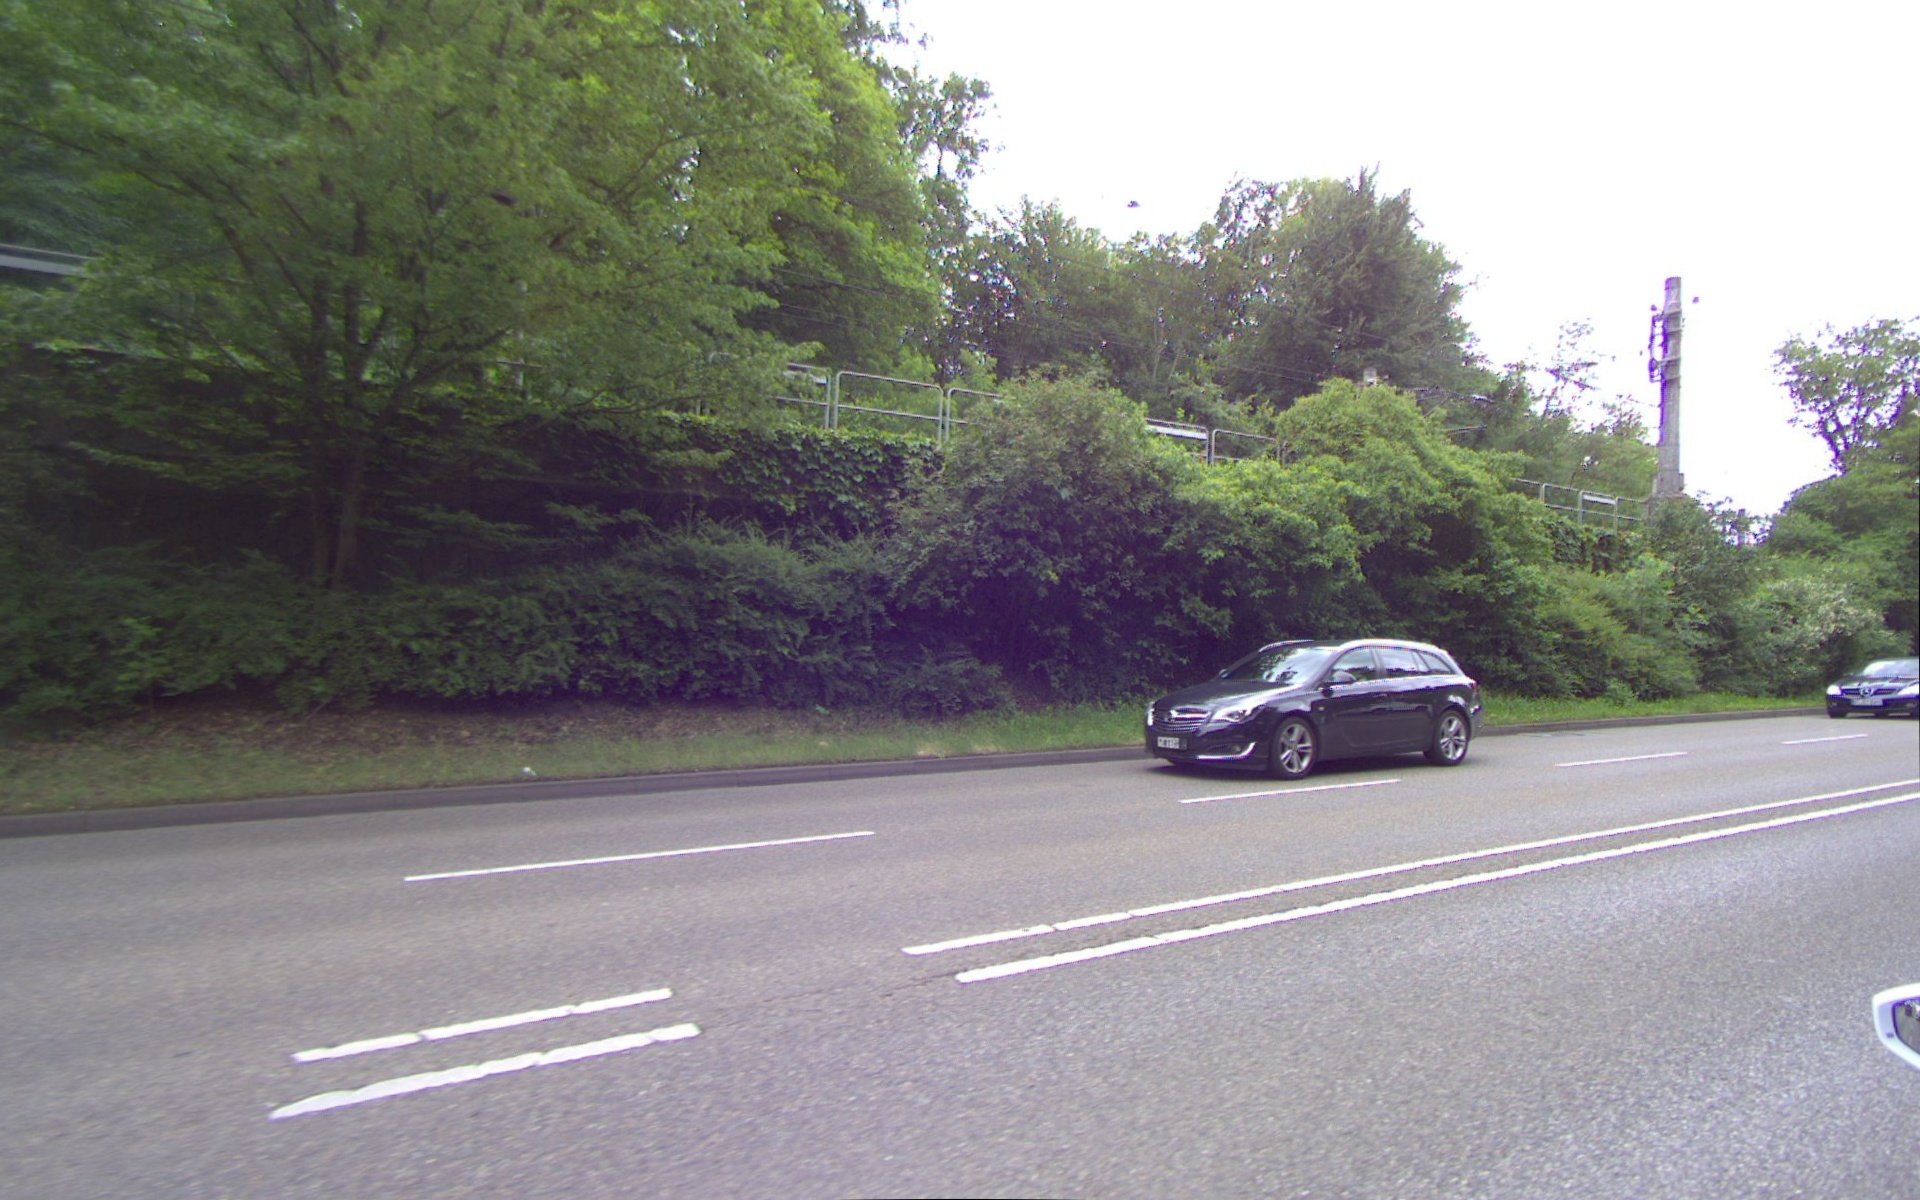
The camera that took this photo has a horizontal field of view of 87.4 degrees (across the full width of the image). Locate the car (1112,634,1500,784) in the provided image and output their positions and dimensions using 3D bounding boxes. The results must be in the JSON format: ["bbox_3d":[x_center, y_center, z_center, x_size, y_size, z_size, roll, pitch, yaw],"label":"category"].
[{"bbox_3d":[4.166,1.182,11.937,4.476,1.487,1.905,2,-3,-30],"label":"car"}]

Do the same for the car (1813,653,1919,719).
[{"bbox_3d":[20.524,1.838,21.867,3.954,1.327,1.759,2,-4,-31],"label":"car"}]
